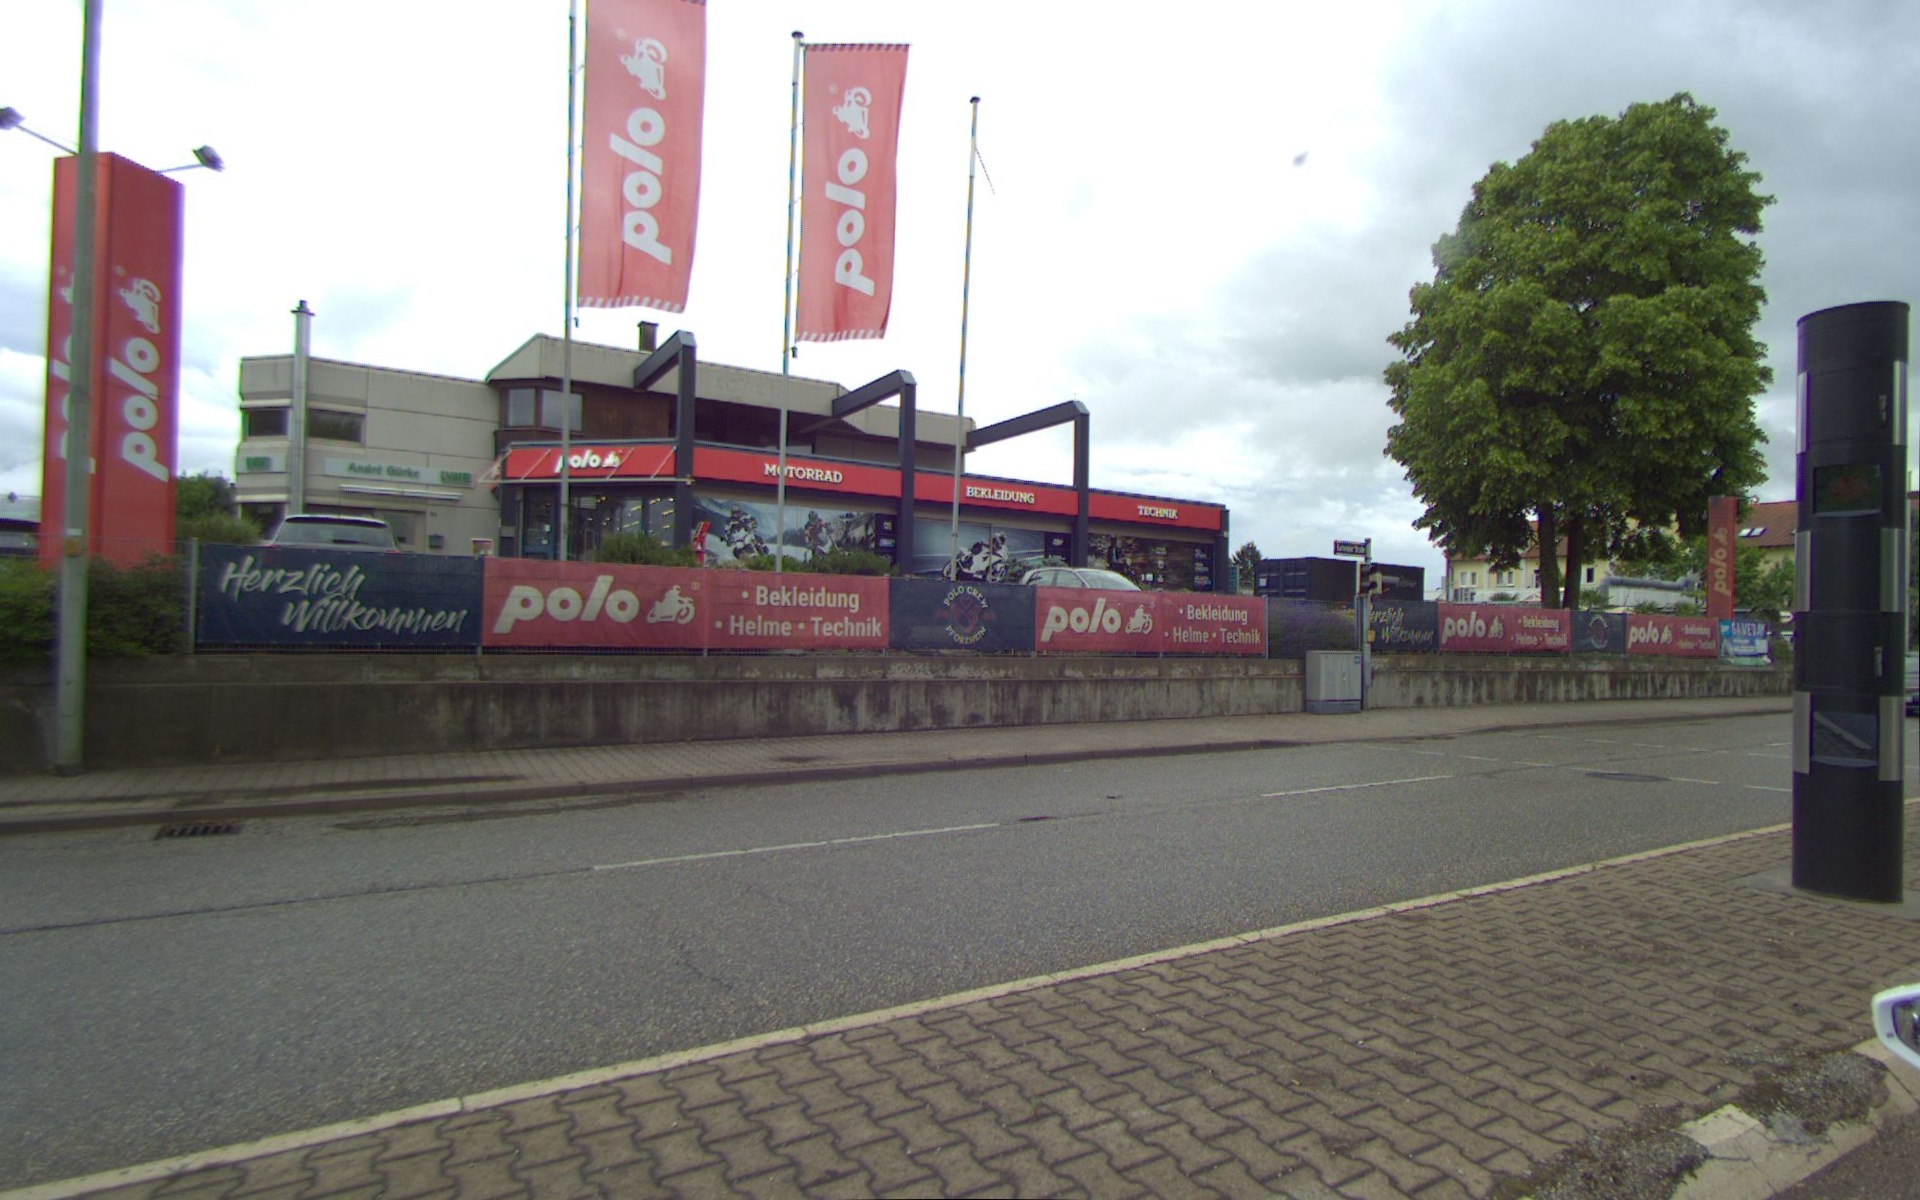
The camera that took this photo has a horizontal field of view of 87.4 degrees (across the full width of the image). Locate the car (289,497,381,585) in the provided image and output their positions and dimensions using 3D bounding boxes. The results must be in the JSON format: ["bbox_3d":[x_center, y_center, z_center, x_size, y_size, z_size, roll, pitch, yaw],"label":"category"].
[{"bbox_3d":[-12.628,-1.108,20.347,1.438,1.492,3.368,1,-1,-32],"label":"car"}]

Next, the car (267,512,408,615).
[{"bbox_3d":[-8.418,-0.406,13.638,1.438,1.183,3.368,1,-1,-32],"label":"car"}]

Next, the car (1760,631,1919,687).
[{"bbox_3d":[33.680,2.254,38.596,4.324,2.040,1.996,-1,-3,32],"label":"car"}]

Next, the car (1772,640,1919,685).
[{"bbox_3d":[36.731,2.554,41.298,4.927,1.724,1.996,-1,-5,33],"label":"car"}]

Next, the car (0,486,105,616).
[{"bbox_3d":[-10.866,-0.484,11.255,1.438,1.295,3.368,1,-1,-32],"label":"car"}]

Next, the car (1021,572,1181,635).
[{"bbox_3d":[2.792,0.104,20.476,1.438,1.183,3.368,1,-1,-32],"label":"car"}]

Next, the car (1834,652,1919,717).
[{"bbox_3d":[22.220,1.905,23.183,4.077,1.397,1.908,2,-3,-31],"label":"car"}]
